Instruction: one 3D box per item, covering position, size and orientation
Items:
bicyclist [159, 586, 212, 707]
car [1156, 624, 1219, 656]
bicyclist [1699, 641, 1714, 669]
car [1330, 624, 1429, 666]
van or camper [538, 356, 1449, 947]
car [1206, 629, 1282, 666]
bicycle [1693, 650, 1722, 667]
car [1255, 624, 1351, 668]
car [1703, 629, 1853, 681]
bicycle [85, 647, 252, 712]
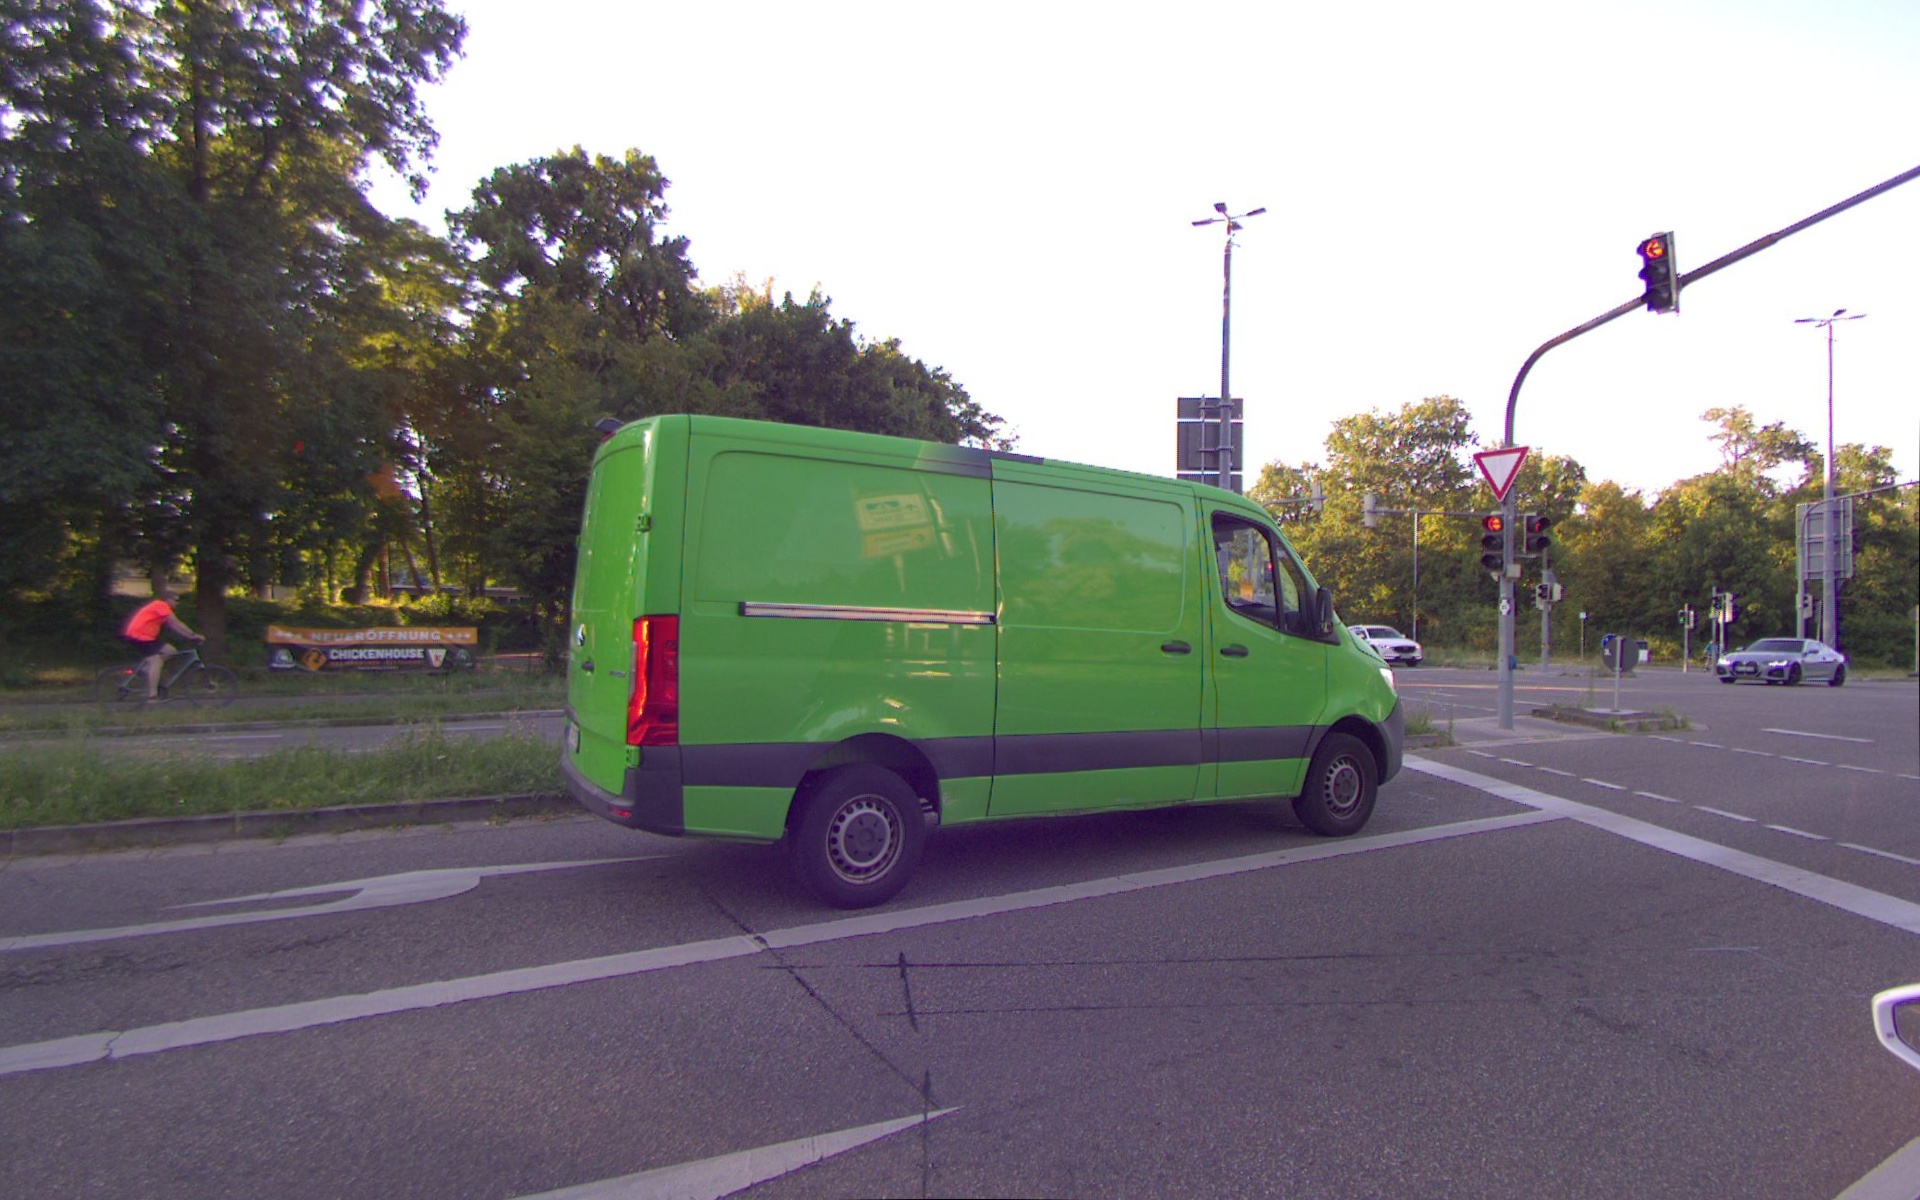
[{"bbox_3d":[-12.367,0.737,16.047,0.613,1.899,0.455,2,-1,-38],"label":"bicyclist"},{"bbox_3d":[12.682,2.218,56.196,1.964,1.661,4.250,1,-1,-10],"label":"car"},{"bbox_3d":[38.049,2.777,51.207,0.509,1.406,0.407,0,-1,19],"label":"bicyclist"},{"bbox_3d":[17.493,1.850,42.101,1.963,1.661,4.252,1,-1,-8],"label":"car"},{"bbox_3d":[0.537,0.293,6.561,5.830,2.453,1.983,2,-1,-32],"label":"van or camper"},{"bbox_3d":[13.496,2.228,48.043,1.963,1.661,4.252,1,-1,-8],"label":"car"},{"bbox_3d":[38.080,2.996,51.184,1.084,0.836,0.413,0,-1,20],"label":"bicycle"},{"bbox_3d":[13.806,1.816,40.695,1.963,1.661,4.252,1,-1,-8],"label":"car"},{"bbox_3d":[24.527,1.625,30.100,4.443,1.460,1.884,2,-1,-27],"label":"car"},{"bbox_3d":[-12.494,1.236,15.925,2.027,0.946,0.488,2,-2,-39],"label":"bicycle"}]
